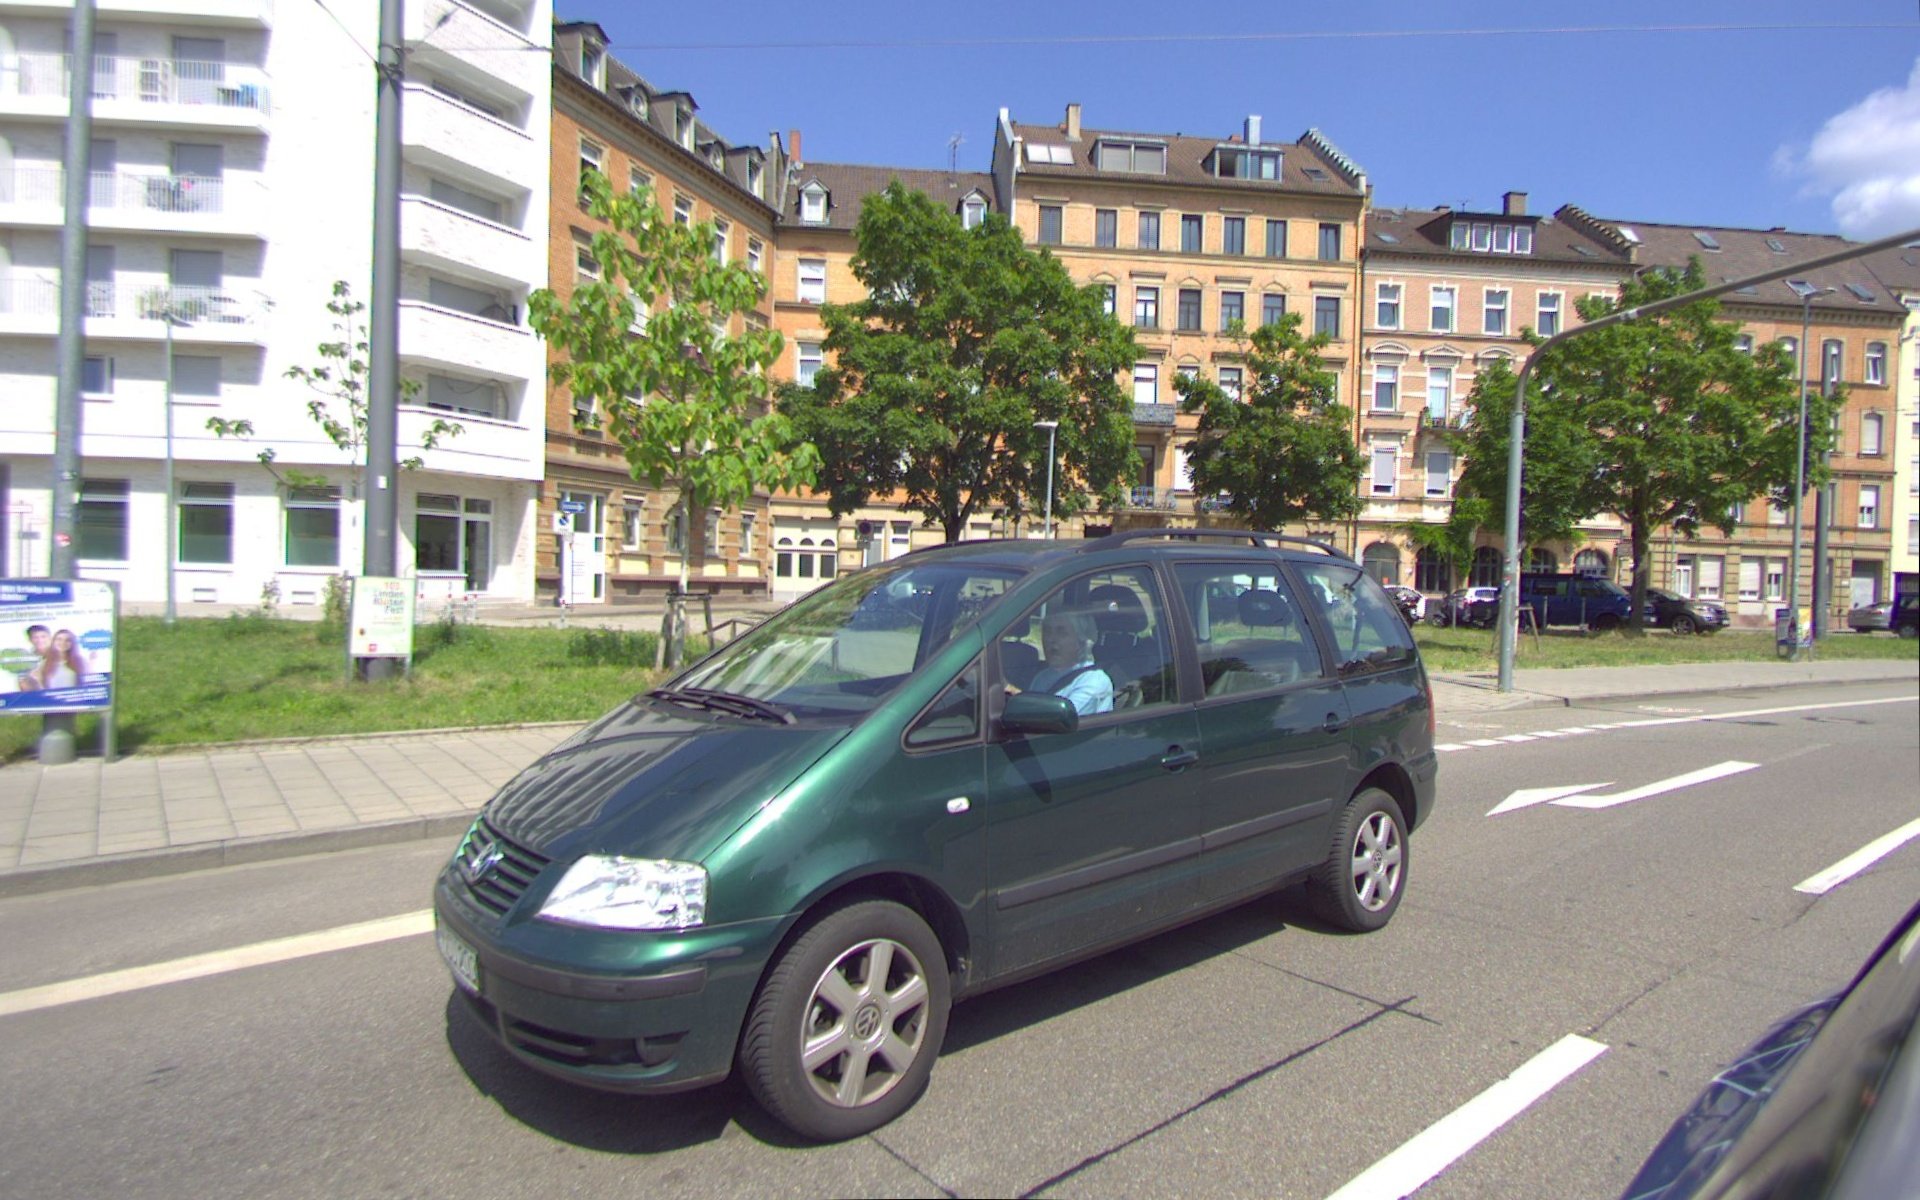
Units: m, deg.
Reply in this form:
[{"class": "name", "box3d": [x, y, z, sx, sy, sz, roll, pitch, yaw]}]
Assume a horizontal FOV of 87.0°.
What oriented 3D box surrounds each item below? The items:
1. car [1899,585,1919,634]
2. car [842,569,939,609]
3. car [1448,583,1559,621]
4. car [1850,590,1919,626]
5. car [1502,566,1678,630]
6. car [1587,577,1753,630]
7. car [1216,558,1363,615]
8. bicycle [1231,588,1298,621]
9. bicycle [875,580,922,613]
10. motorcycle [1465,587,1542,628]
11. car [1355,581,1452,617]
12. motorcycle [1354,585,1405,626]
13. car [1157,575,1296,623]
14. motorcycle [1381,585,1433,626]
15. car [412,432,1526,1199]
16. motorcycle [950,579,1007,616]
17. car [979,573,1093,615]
[{"class": "car", "box3d": [36.040, 0.375, 35.594, 1.817, 1.763, 4.151, 1, 0, -34]}, {"class": "car", "box3d": [-2.770, -0.442, 40.504, 3.777, 1.510, 1.665, 1, 0, -3]}, {"class": "car", "box3d": [22.805, 0.095, 42.561, 3.777, 1.510, 1.665, 1, 0, -3]}, {"class": "car", "box3d": [41.440, 0.362, 43.902, 4.143, 1.510, 1.839, 1, 0, -3]}, {"class": "car", "box3d": [20.891, -0.071, 33.751, 1.880, 1.952, 4.630, 1, 0, -34]}, {"class": "car", "box3d": [23.803, 0.108, 34.074, 1.878, 1.677, 4.178, 1, 0, -30]}, {"class": "car", "box3d": [13.503, -0.538, 41.670, 5.287, 2.206, 2.119, 1, 0, -3]}, {"class": "bicycle", "box3d": [8.896, 0.129, 29.565, 1.784, 0.913, 0.544, 1, 0, -8]}, {"class": "bicycle", "box3d": [-1.939, -0.109, 31.665, 0.533, 0.981, 2.395, 1, 0, -27]}, {"class": "motorcycle", "box3d": [16.143, 0.215, 30.065, 1.875, 1.181, 0.638, 1, 1, 9]}, {"class": "car", "box3d": [18.445, -0.055, 42.197, 3.286, 1.420, 1.569, 1, 1, -1]}, {"class": "motorcycle", "box3d": [12.635, 0.136, 30.516, 0.627, 1.181, 1.791, 1, 1, -6]}, {"class": "car", "box3d": [8.586, -0.068, 32.943, 1.770, 1.445, 4.262, 1, 1, -33]}, {"class": "motorcycle", "box3d": [13.494, 0.160, 30.616, 0.627, 1.181, 1.791, 1, 1, -6]}, {"class": "car", "box3d": [0.507, 0.524, 4.508, 4.940, 1.779, 1.823, 0, 0, -39]}, {"class": "motorcycle", "box3d": [0.580, -0.077, 32.876, 0.796, 1.140, 2.395, 1, 0, -27]}, {"class": "car", "box3d": [2.431, -0.189, 33.419, 1.825, 1.260, 4.170, 1, 0, -28]}]
